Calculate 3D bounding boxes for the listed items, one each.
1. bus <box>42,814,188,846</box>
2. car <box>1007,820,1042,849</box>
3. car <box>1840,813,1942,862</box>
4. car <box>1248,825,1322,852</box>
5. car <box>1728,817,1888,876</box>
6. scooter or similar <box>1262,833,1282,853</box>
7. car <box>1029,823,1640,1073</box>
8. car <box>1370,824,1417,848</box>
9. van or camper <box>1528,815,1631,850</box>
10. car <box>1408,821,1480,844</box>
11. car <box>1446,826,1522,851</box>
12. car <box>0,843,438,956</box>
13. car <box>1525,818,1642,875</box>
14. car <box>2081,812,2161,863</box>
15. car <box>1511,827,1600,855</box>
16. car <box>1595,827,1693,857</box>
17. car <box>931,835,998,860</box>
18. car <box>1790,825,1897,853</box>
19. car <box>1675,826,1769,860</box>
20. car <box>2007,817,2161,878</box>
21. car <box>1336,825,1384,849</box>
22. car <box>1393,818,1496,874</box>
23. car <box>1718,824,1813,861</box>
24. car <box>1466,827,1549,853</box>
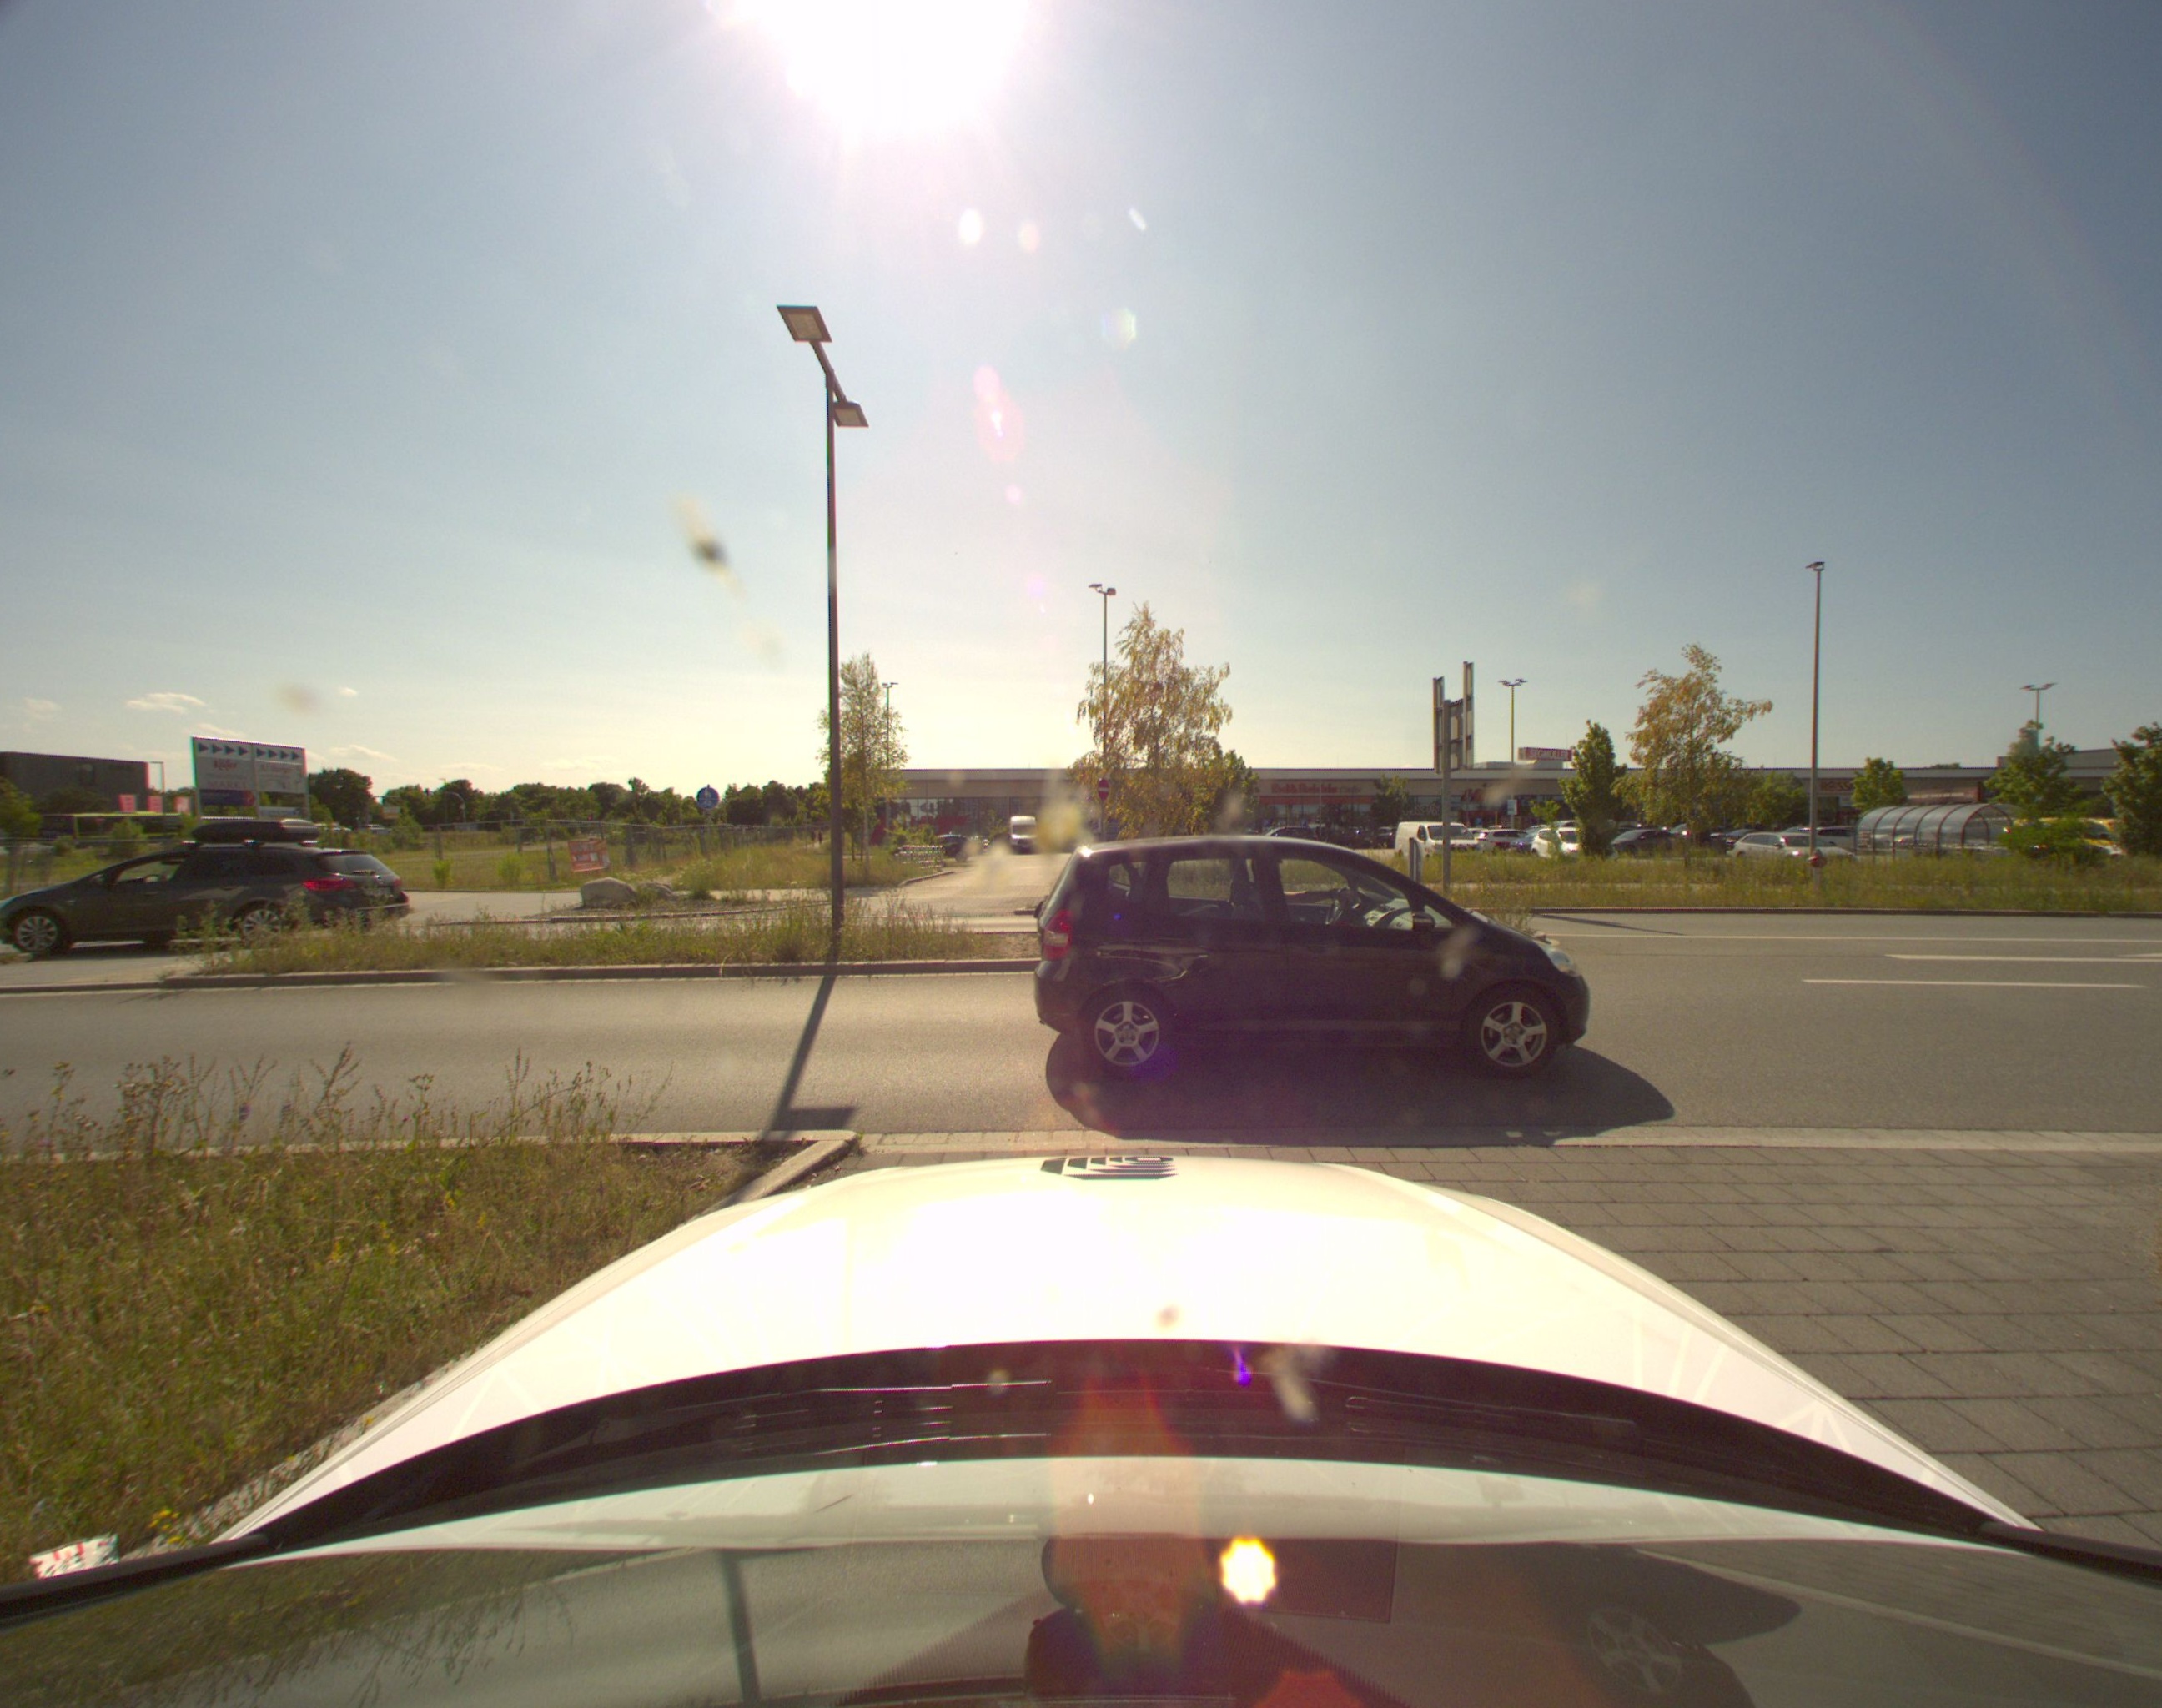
[{"bbox_3d":[-87.978,-2.224,74.606,2.578,2.734,11.506,0,2,-16],"label":"bus"},{"bbox_3d":[-4.194,-1.467,59.559,2.220,1.976,6.681,-1,2,-7],"label":"car"},{"bbox_3d":[47.480,-0.975,47.769,4.469,2.821,1.994,0,1,-10],"label":"car"},{"bbox_3d":[11.703,-0.903,46.809,3.785,1.508,1.730,-1,2,-3],"label":"car"},{"bbox_3d":[26.949,-0.326,30.500,2.144,2.013,5.132,0,2,11],"label":"car"},{"bbox_3d":[10.582,-0.608,45.080,0.940,1.079,0.652,-1,2,1],"label":"scooter or similar"},{"bbox_3d":[1.612,0.562,6.112,3.817,1.550,2.001,0,2,1],"label":"car"},{"bbox_3d":[23.462,-1.391,61.271,1.987,1.707,4.001,-1,2,0],"label":"car"},{"bbox_3d":[29.666,-1.271,48.557,5.021,2.013,1.999,-1,2,-2],"label":"van or camper"},{"bbox_3d":[22.514,-1.338,50.575,3.716,1.390,1.728,-1,2,-7],"label":"car"},{"bbox_3d":[23.592,-0.899,47.743,3.716,1.390,1.728,-1,2,-7],"label":"car"},{"bbox_3d":[-12.686,0.594,12.301,4.181,1.516,1.994,0,1,-9],"label":"car"},{"bbox_3d":[19.238,-0.350,31.493,2.144,2.013,5.132,0,2,11],"label":"car"},{"bbox_3d":[59.421,-0.924,45.661,4.460,2.821,1.998,0,1,-4],"label":"car"},{"bbox_3d":[24.522,-0.698,42.134,3.716,1.390,1.728,-1,2,-7],"label":"car"},{"bbox_3d":[29.773,-0.641,43.146,3.977,1.508,1.873,0,1,-2],"label":"car"},{"bbox_3d":[-6.809,-0.387,47.840,3.829,1.423,1.768,0,1,-7],"label":"car"},{"bbox_3d":[41.428,-0.806,44.301,4.324,1.520,1.655,0,1,-2],"label":"car"},{"bbox_3d":[41.200,-0.719,52.412,4.454,2.102,2.001,0,1,0],"label":"car"},{"bbox_3d":[36.525,-0.289,28.985,2.142,2.013,5.136,0,2,14],"label":"car"},{"bbox_3d":[20.801,-1.273,60.847,1.990,1.707,3.995,-1,2,-4],"label":"car"},{"bbox_3d":[14.058,-0.365,31.906,2.071,2.013,5.236,0,2,5],"label":"car"},{"bbox_3d":[41.389,-0.696,49.311,4.469,2.191,1.994,0,1,-10],"label":"car"},{"bbox_3d":[23.387,-0.794,44.700,3.716,1.390,1.728,-1,2,-7],"label":"car"}]
